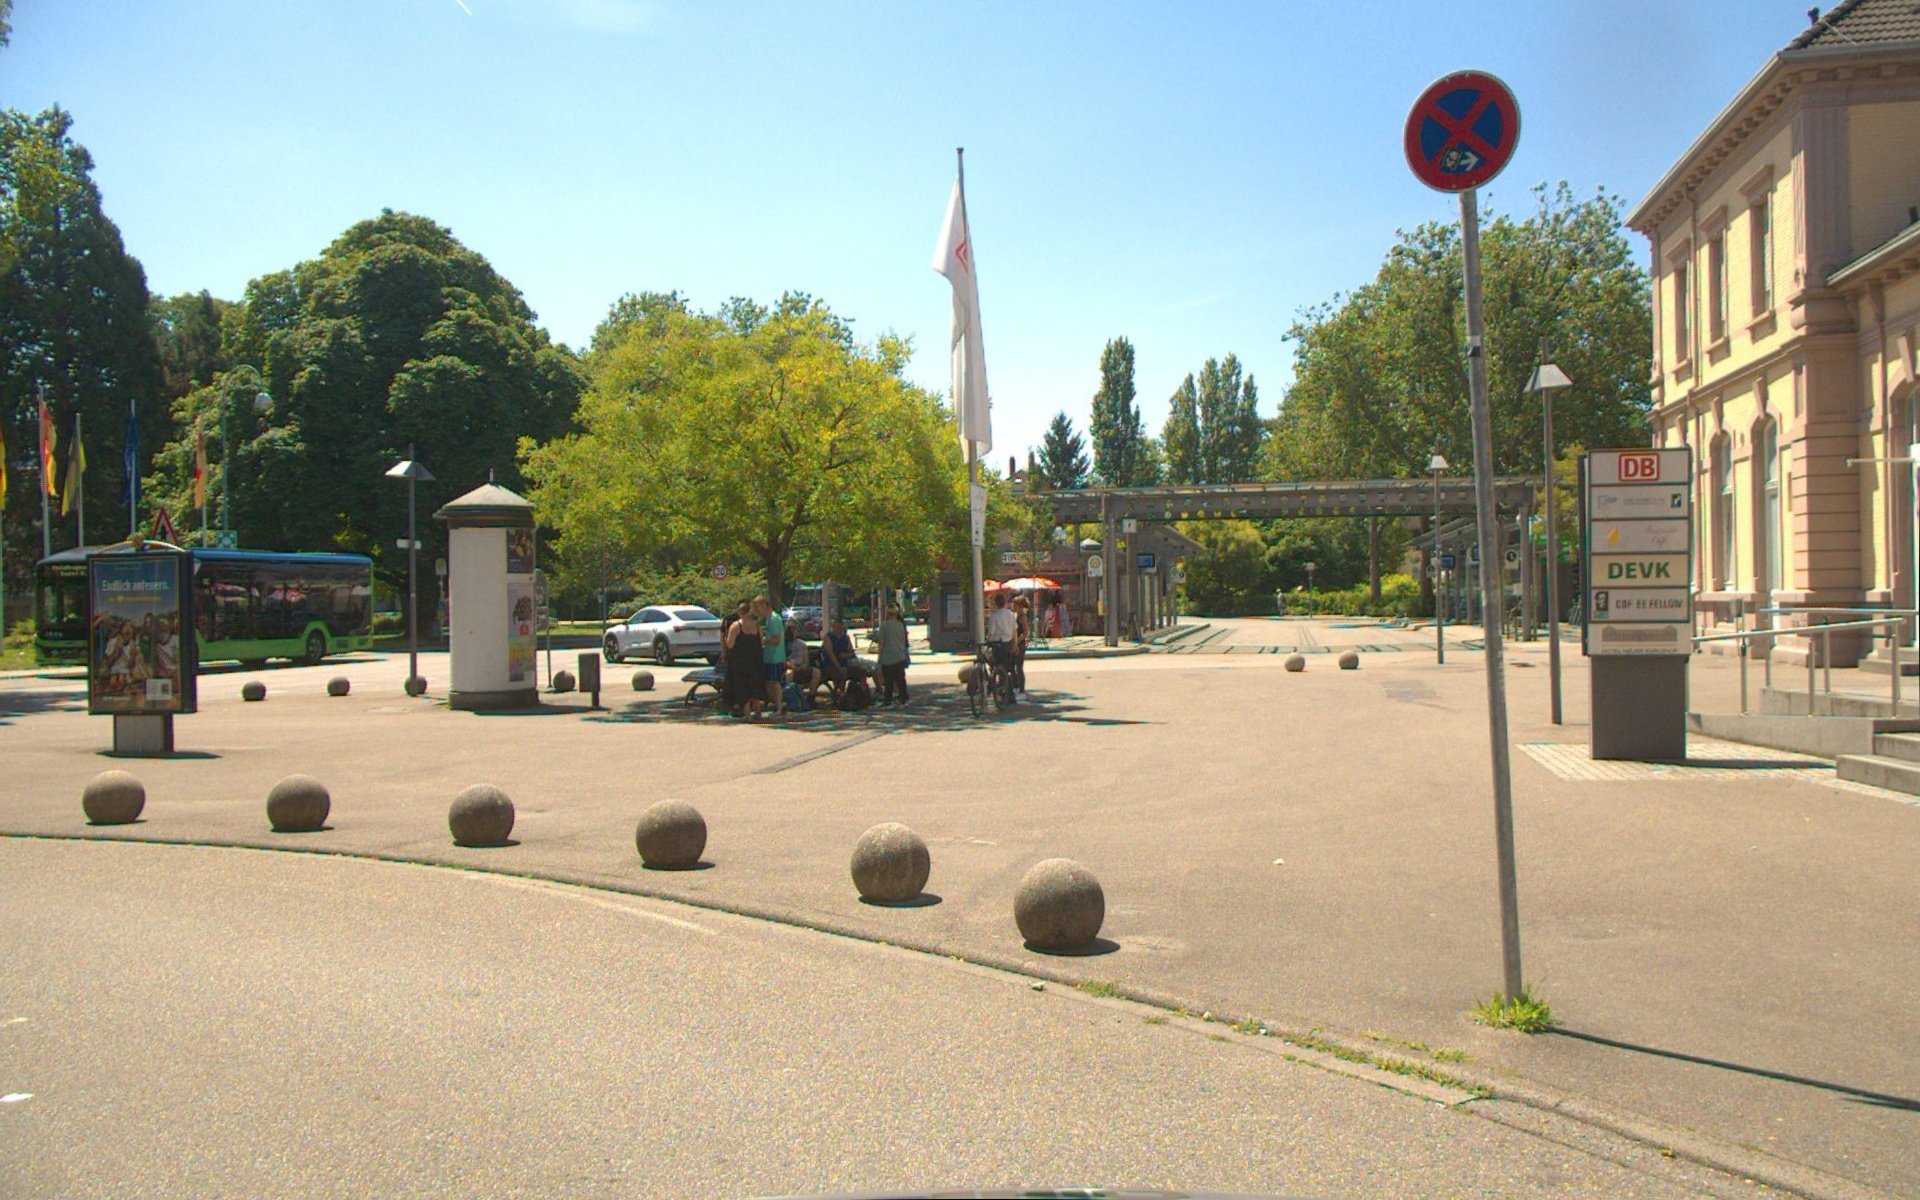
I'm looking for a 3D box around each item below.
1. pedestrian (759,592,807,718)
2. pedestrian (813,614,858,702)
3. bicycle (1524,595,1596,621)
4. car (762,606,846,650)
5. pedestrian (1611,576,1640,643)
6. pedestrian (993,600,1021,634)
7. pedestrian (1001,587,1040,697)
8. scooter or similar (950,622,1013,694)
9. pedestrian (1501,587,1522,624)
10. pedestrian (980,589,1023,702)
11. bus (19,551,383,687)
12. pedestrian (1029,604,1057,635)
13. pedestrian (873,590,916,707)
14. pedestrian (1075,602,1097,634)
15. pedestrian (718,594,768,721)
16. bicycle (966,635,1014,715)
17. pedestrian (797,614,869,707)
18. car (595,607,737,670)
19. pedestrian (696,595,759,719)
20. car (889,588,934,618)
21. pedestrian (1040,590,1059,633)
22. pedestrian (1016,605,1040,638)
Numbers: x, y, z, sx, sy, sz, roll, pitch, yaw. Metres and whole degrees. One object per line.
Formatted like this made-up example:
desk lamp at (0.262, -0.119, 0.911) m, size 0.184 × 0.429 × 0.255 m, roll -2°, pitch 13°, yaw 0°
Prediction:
pedestrian at (-2.558, 0.783, 23.889) m, size 0.573 × 1.770 × 0.597 m, roll -1°, pitch 0°, yaw -14°
pedestrian at (-2.043, 0.939, 27.062) m, size 0.588 × 1.388 × 0.597 m, roll -1°, pitch 0°, yaw -17°
bicycle at (25.188, 0.341, 69.436) m, size 2.727 × 1.021 × 0.812 m, roll 1°, pitch -1°, yaw 9°
car at (-5.909, 1.039, 63.248) m, size 1.886 × 1.486 × 4.729 m, roll -4°, pitch -1°, yaw 10°
pedestrian at (18.334, 0.266, 45.586) m, size 0.618 × 1.841 × 0.595 m, roll -1°, pitch 0°, yaw 32°
pedestrian at (1.872, 0.662, 65.534) m, size 0.880 × 1.335 × 0.683 m, roll -1°, pitch 0°, yaw -24°
pedestrian at (0.956, 0.661, 26.223) m, size 0.542 × 1.714 × 0.587 m, roll -1°, pitch 0°, yaw -1°
scooter or similar at (0.355, 0.959, 27.360) m, size 1.003 × 1.159 × 0.294 m, roll -1°, pitch -1°, yaw 4°
pedestrian at (21.506, 0.212, 64.515) m, size 0.611 × 1.419 × 0.677 m, roll -3°, pitch -1°, yaw 11°
pedestrian at (0.636, 0.692, 25.605) m, size 0.605 × 1.714 × 0.591 m, roll -1°, pitch 0°, yaw -1°
bus at (-21.156, 0.443, 47.488) m, size 2.748 × 3.340 × 12.436 m, roll -1°, pitch 0°, yaw 11°
pedestrian at (3.258, 0.763, 65.155) m, size 0.880 × 1.181 × 0.683 m, roll -1°, pitch 0°, yaw -24°
pedestrian at (-1.011, 0.734, 25.494) m, size 0.502 × 1.770 × 0.568 m, roll -1°, pitch 0°, yaw -18°
pedestrian at (4.900, 0.694, 64.349) m, size 0.742 × 1.226 × 0.738 m, roll 1°, pitch -1°, yaw 11°
pedestrian at (-3.093, 0.809, 23.508) m, size 0.615 × 1.770 × 0.546 m, roll -1°, pitch 0°, yaw -14°
bicycle at (0.445, 1.065, 23.982) m, size 0.411 × 1.079 × 1.950 m, roll -1°, pitch 0°, yaw 9°
pedestrian at (-1.992, 0.928, 25.838) m, size 0.896 × 1.410 × 0.939 m, roll -1°, pitch 0°, yaw -18°
car at (-8.434, 1.082, 47.150) m, size 1.970 × 1.655 × 4.710 m, roll -2°, pitch 0°, yaw -39°
pedestrian at (-3.413, 0.826, 24.291) m, size 0.677 × 1.794 × 0.585 m, roll -1°, pitch 0°, yaw 20°
car at (-3.644, 0.236, 123.987) m, size 2.167 × 2.211 × 4.859 m, roll -1°, pitch 0°, yaw -17°
pedestrian at (3.710, 0.479, 68.591) m, size 0.671 × 1.768 × 0.708 m, roll -1°, pitch 0°, yaw 11°
pedestrian at (2.528, 0.797, 61.194) m, size 0.672 × 1.181 × 0.895 m, roll -1°, pitch 0°, yaw 15°
